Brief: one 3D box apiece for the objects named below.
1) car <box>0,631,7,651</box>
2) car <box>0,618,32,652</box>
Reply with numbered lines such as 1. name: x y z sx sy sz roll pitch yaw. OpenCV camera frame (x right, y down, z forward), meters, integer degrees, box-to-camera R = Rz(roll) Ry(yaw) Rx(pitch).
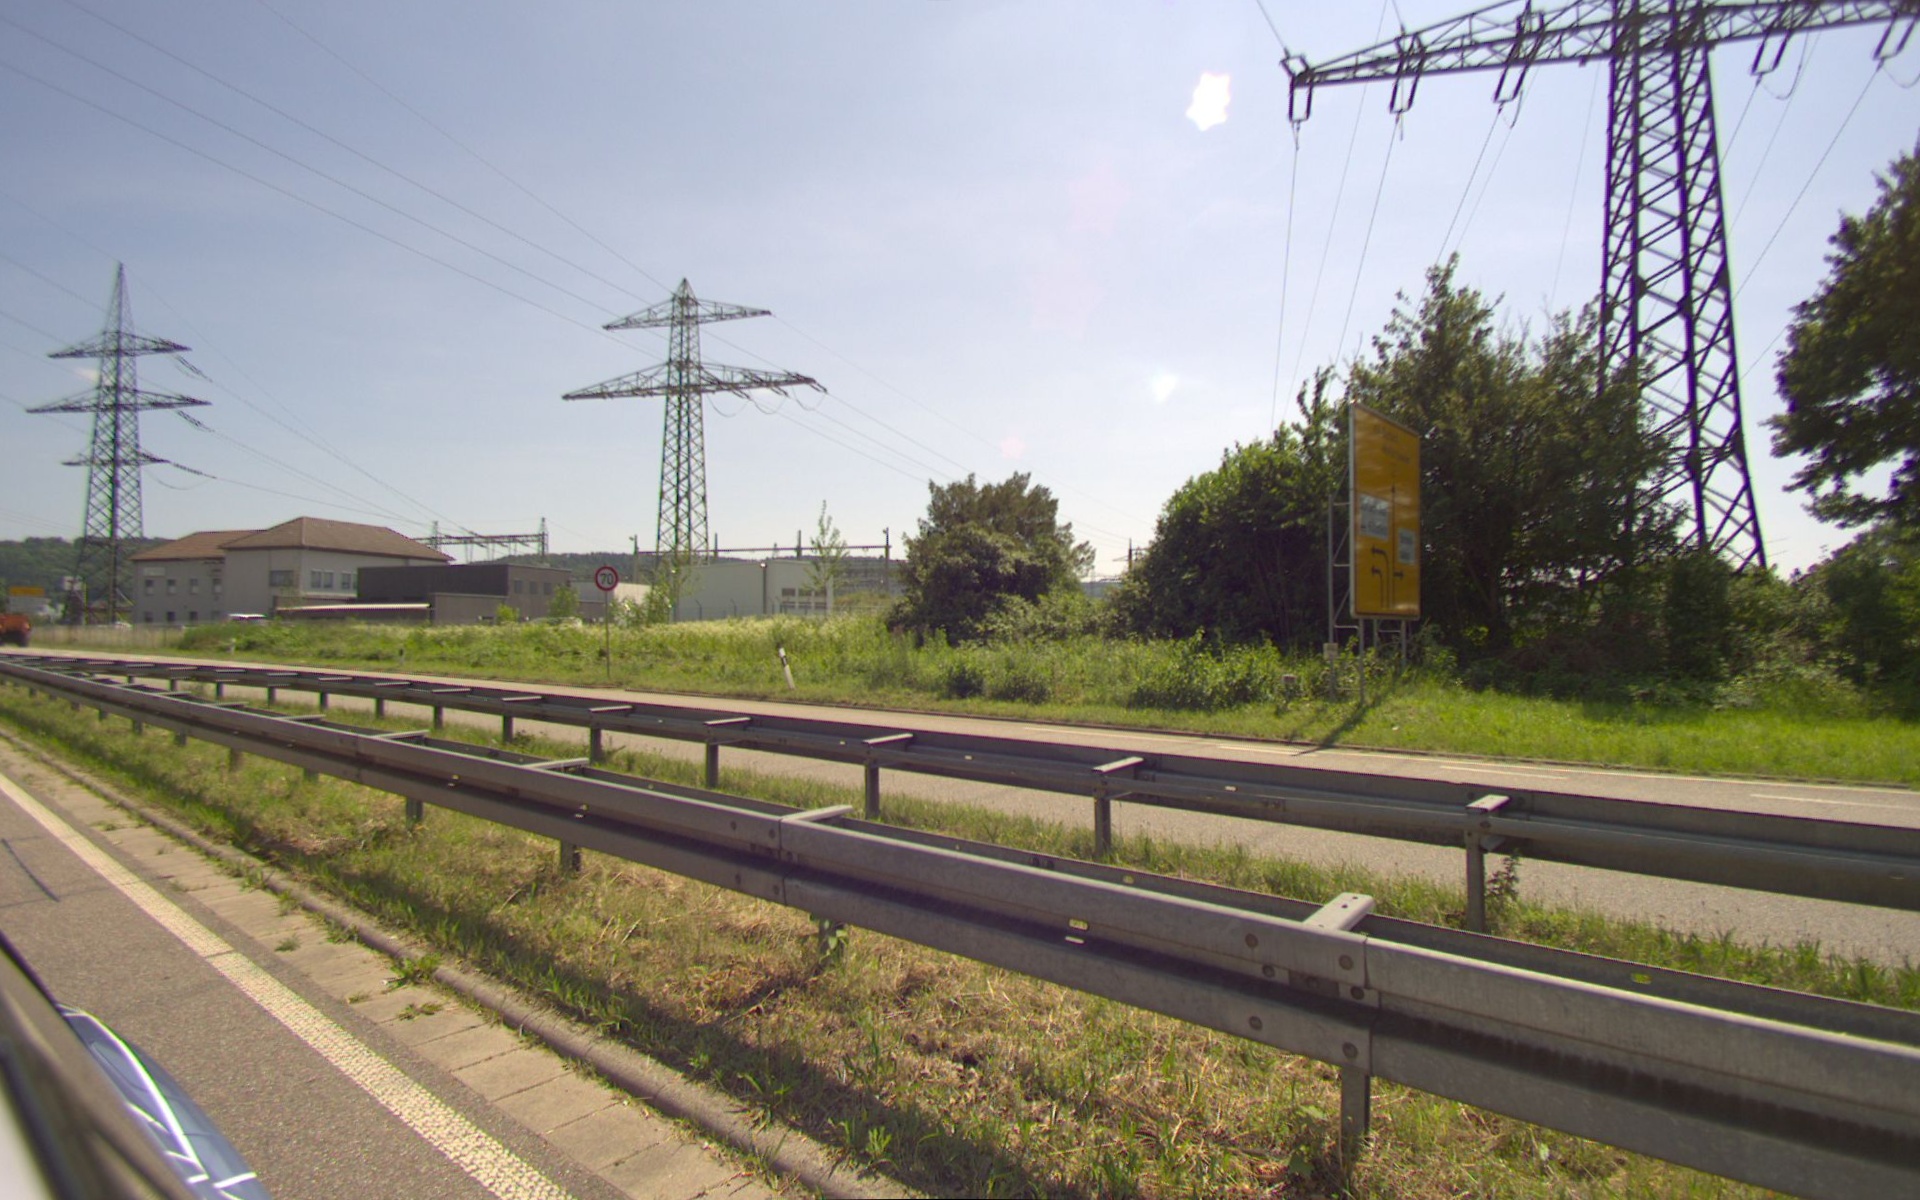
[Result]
1. car: -95.422 4.058 99.411 3.993 1.929 1.975 0 0 37
2. car: -87.775 3.228 93.200 5.634 3.084 2.574 -2 -3 40
